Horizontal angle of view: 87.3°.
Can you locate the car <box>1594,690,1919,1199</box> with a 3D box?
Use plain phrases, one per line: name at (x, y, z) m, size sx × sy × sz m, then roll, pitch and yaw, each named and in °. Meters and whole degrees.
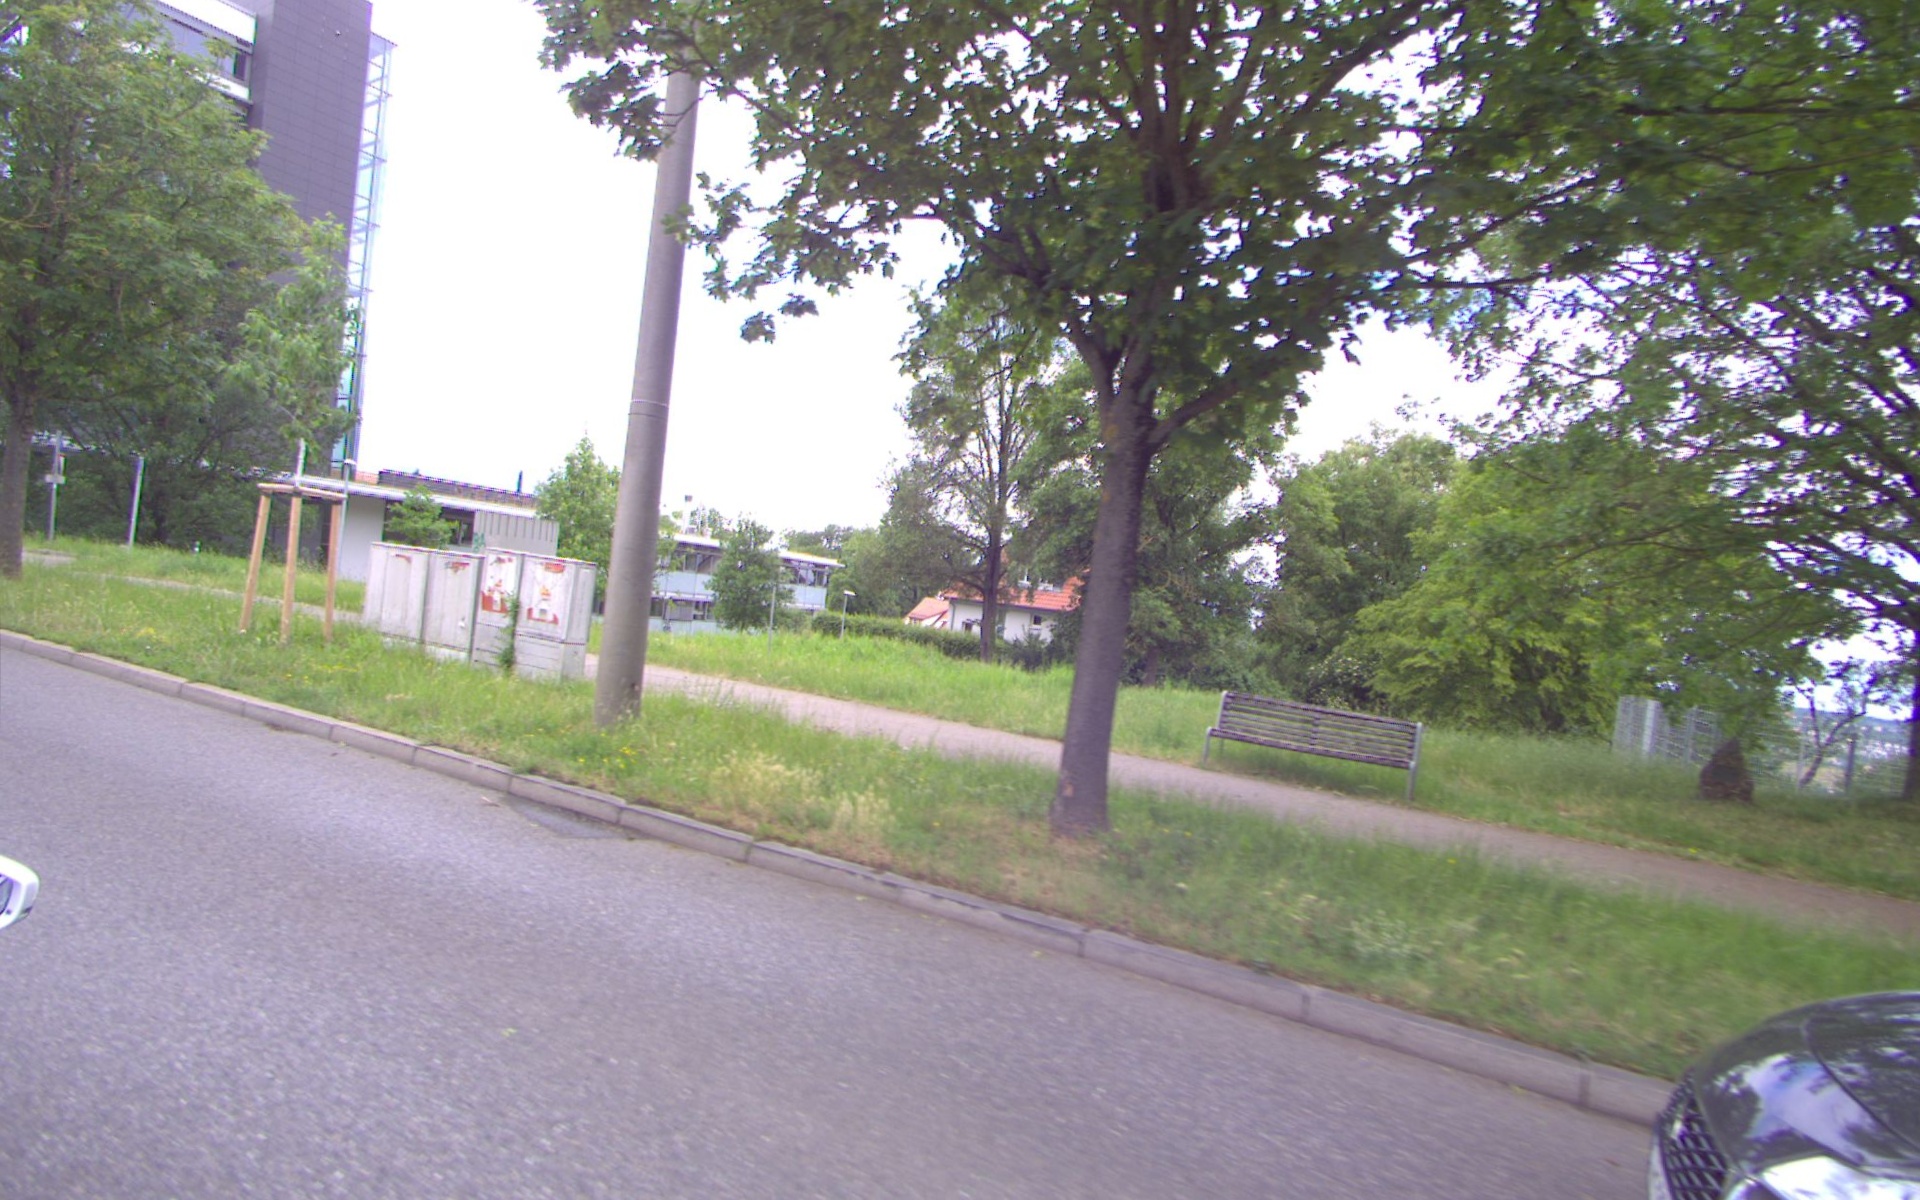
car at (3.132, 1.149, 1.067) m, size 3.995 × 1.478 × 1.704 m, roll 7°, pitch -1°, yaw 32°
